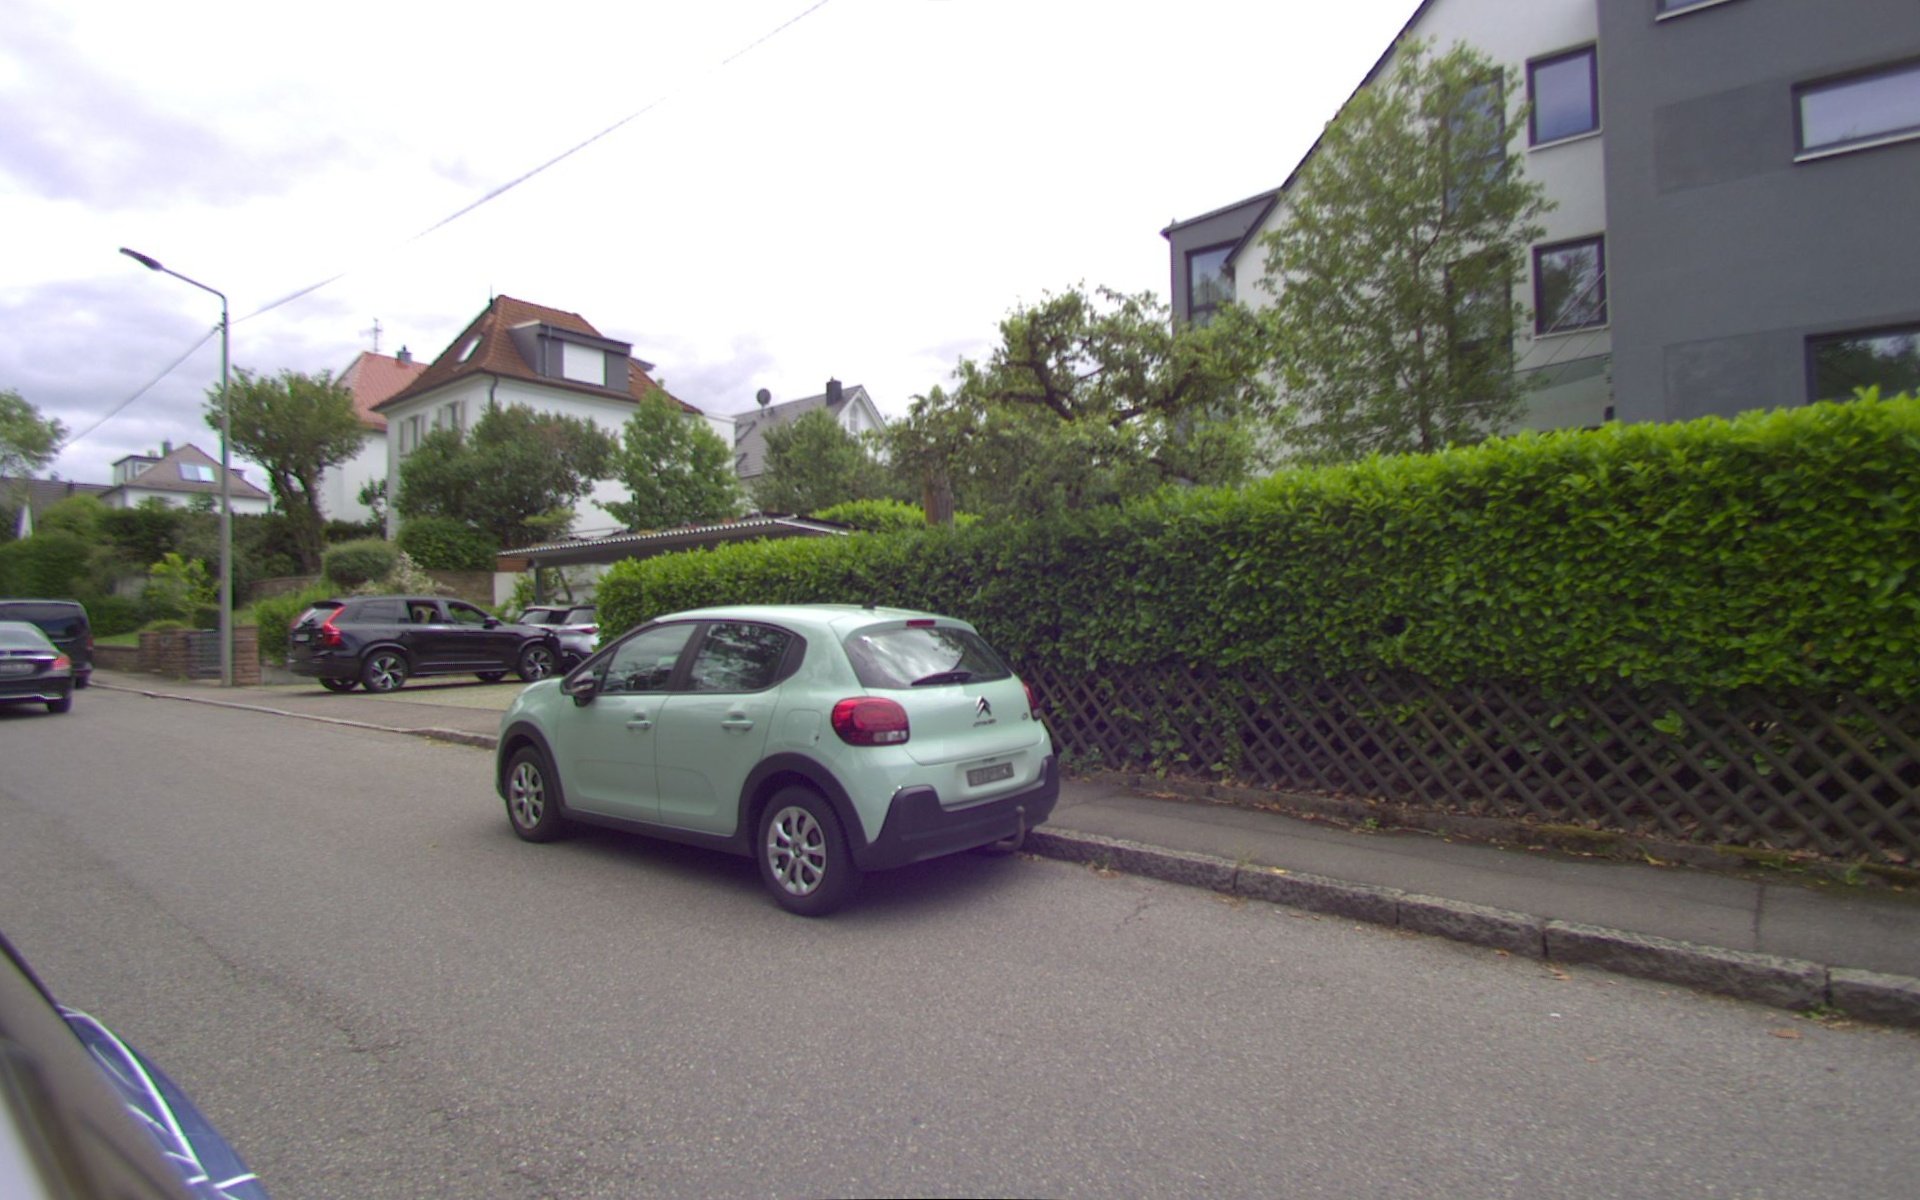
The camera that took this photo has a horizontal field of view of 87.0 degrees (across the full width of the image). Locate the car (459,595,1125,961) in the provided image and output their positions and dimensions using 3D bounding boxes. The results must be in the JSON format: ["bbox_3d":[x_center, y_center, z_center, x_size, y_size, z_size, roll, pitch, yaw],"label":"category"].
[{"bbox_3d":[-1.204,0.761,6.146,4.010,1.511,1.766,-1,0,39],"label":"car"}]

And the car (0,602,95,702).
[{"bbox_3d":[-20.522,1.058,21.854,5.030,1.941,1.845,-1,0,38],"label":"car"}]

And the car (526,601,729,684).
[{"bbox_3d":[-7.561,0.961,23.355,1.995,1.710,4.087,-4,-3,35],"label":"car"}]

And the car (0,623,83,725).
[{"bbox_3d":[-15.485,1.093,15.806,4.585,1.425,1.845,-1,0,38],"label":"car"}]

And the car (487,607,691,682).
[{"bbox_3d":[-9.297,1.093,25.721,1.995,1.710,4.576,-4,-3,34],"label":"car"}]

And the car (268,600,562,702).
[{"bbox_3d":[-10.244,0.902,19.383,1.995,1.710,4.576,-1,-1,35],"label":"car"}]
